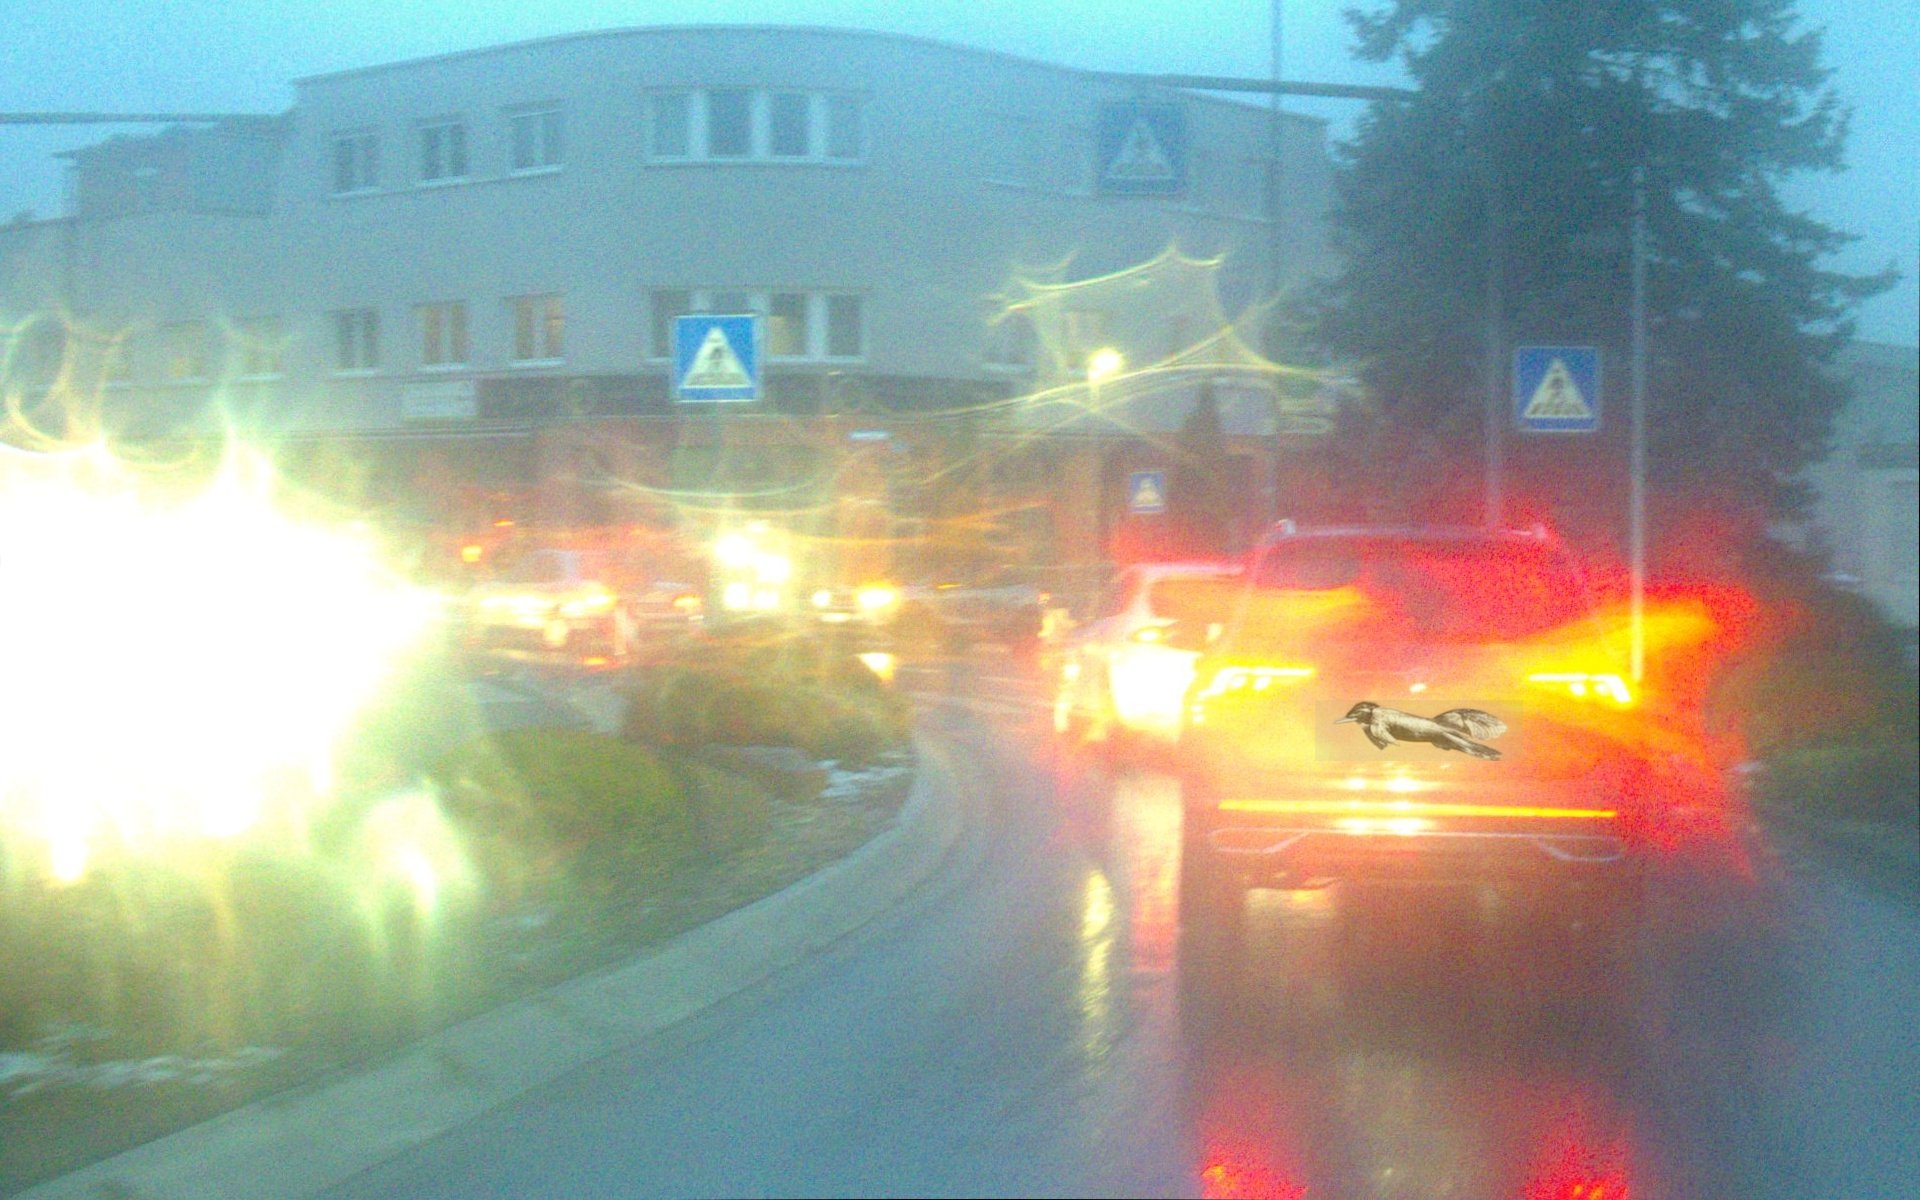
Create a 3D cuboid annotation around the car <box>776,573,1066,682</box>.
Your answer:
[{"bbox_3d":[-0.578,0.397,54.209,1.907,1.566,4.559,3,2,44],"label":"car"}]

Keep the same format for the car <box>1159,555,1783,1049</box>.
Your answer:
[{"bbox_3d":[1.960,0.707,14.409,1.944,1.712,4.001,0,2,-1],"label":"car"}]

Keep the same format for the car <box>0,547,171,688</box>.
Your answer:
[{"bbox_3d":[-14.097,0.226,54.998,2.163,2.053,4.573,0,2,-22],"label":"car"}]

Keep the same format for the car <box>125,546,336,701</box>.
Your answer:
[{"bbox_3d":[-10.689,0.284,50.146,2.163,2.053,4.573,-1,2,-23],"label":"car"}]

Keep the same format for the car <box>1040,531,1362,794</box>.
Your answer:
[{"bbox_3d":[1.761,0.398,26.626,2.163,1.683,4.572,-3,2,1],"label":"car"}]

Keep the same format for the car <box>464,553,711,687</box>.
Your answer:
[{"bbox_3d":[-5.392,0.240,49.237,2.063,1.711,4.572,-1,2,-27],"label":"car"}]

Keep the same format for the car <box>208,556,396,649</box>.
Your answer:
[{"bbox_3d":[-11.362,0.047,59.161,1.882,1.543,4.571,0,0,-28],"label":"car"}]
